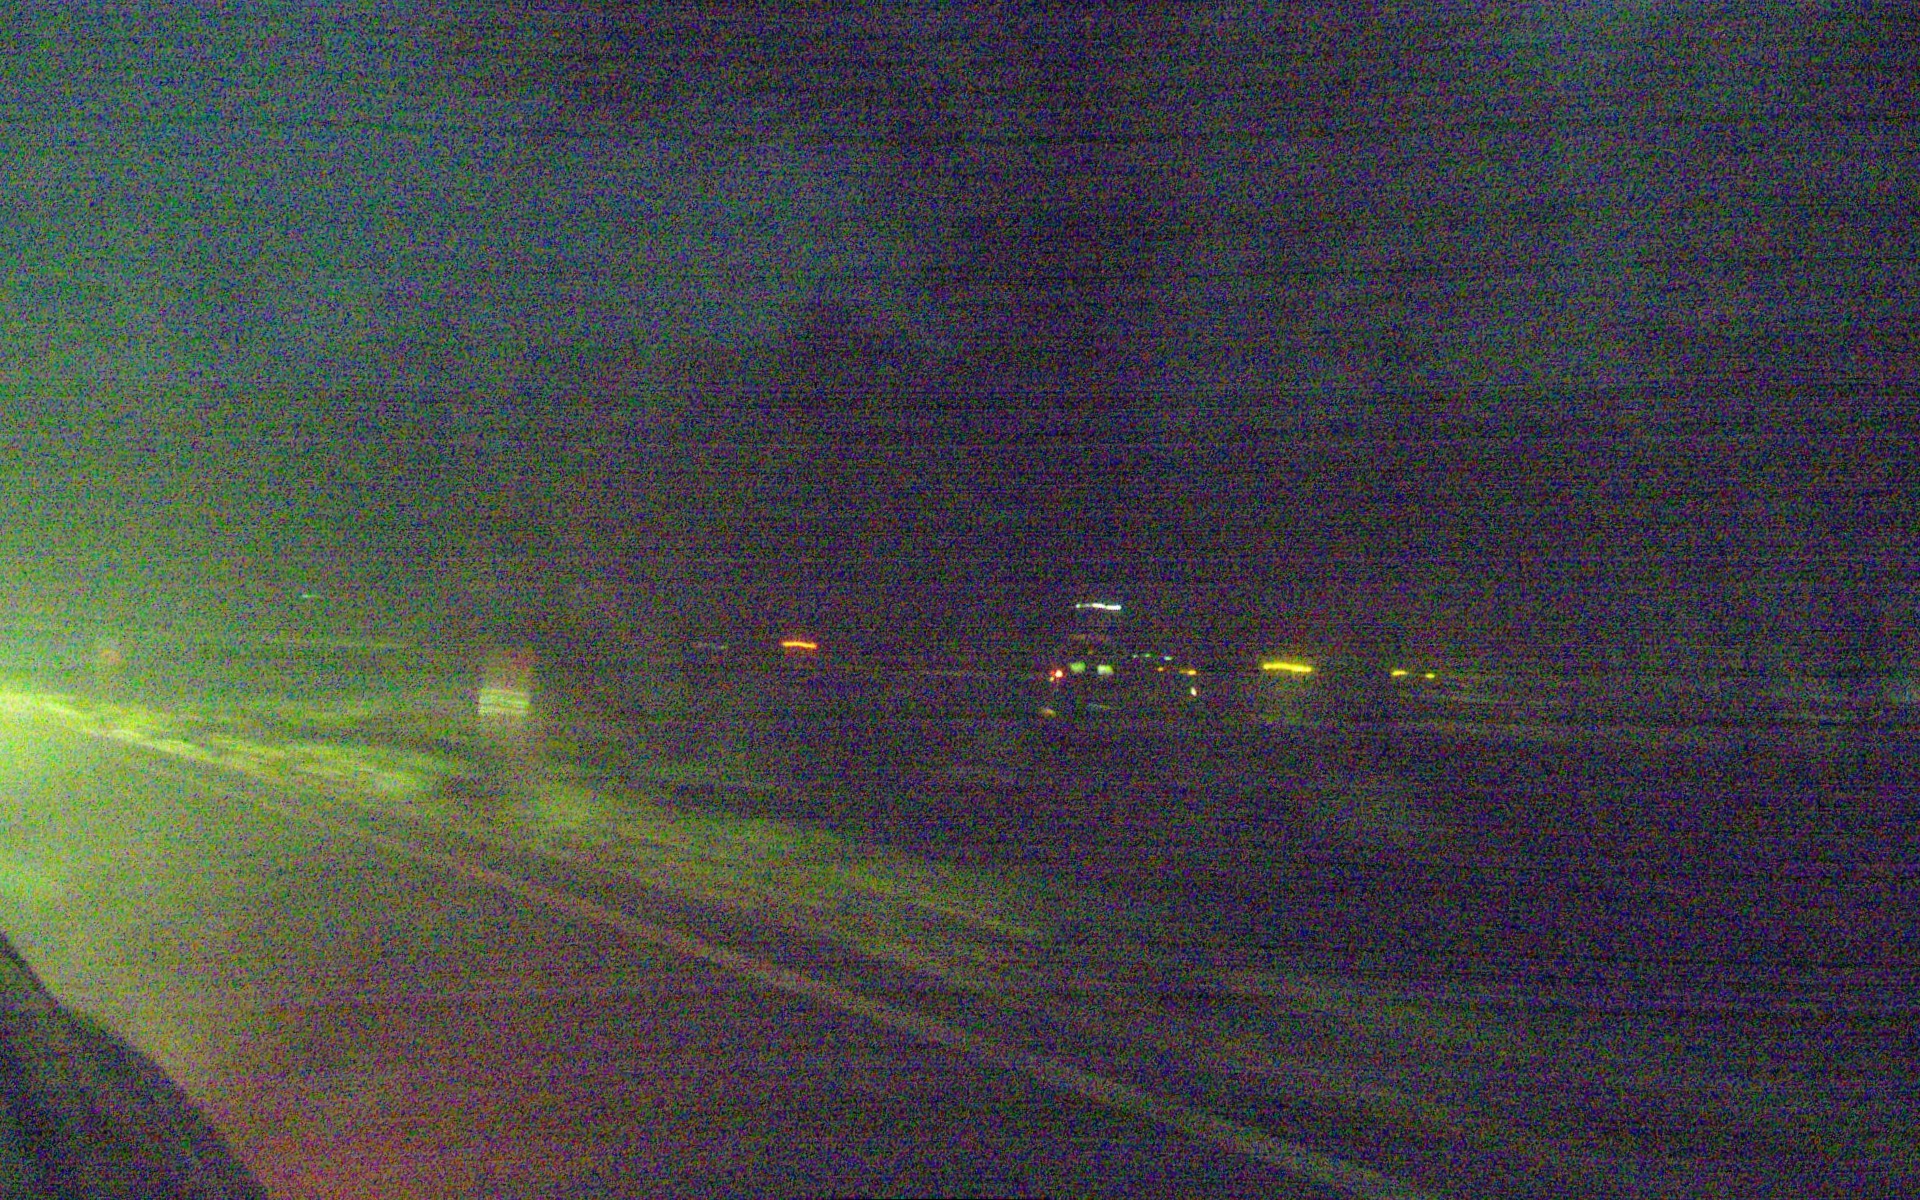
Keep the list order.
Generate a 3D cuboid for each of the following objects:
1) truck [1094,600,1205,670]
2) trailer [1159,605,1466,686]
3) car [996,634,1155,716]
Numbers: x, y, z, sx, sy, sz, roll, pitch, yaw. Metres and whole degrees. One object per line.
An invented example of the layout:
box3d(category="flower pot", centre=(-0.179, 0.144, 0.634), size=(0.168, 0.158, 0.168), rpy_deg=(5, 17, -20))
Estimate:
box3d(category="truck", centre=(8.264, 1.527, 44.407), size=(4.280, 2.751, 2.001), rpy_deg=(3, -1, -2))
box3d(category="trailer", centre=(15.441, 1.979, 44.654), size=(12.824, 2.749, 2.001), rpy_deg=(3, -1, -2))
box3d(category="car", centre=(3.312, 2.152, 29.480), size=(4.405, 2.121, 1.753), rpy_deg=(2, -1, 4))
